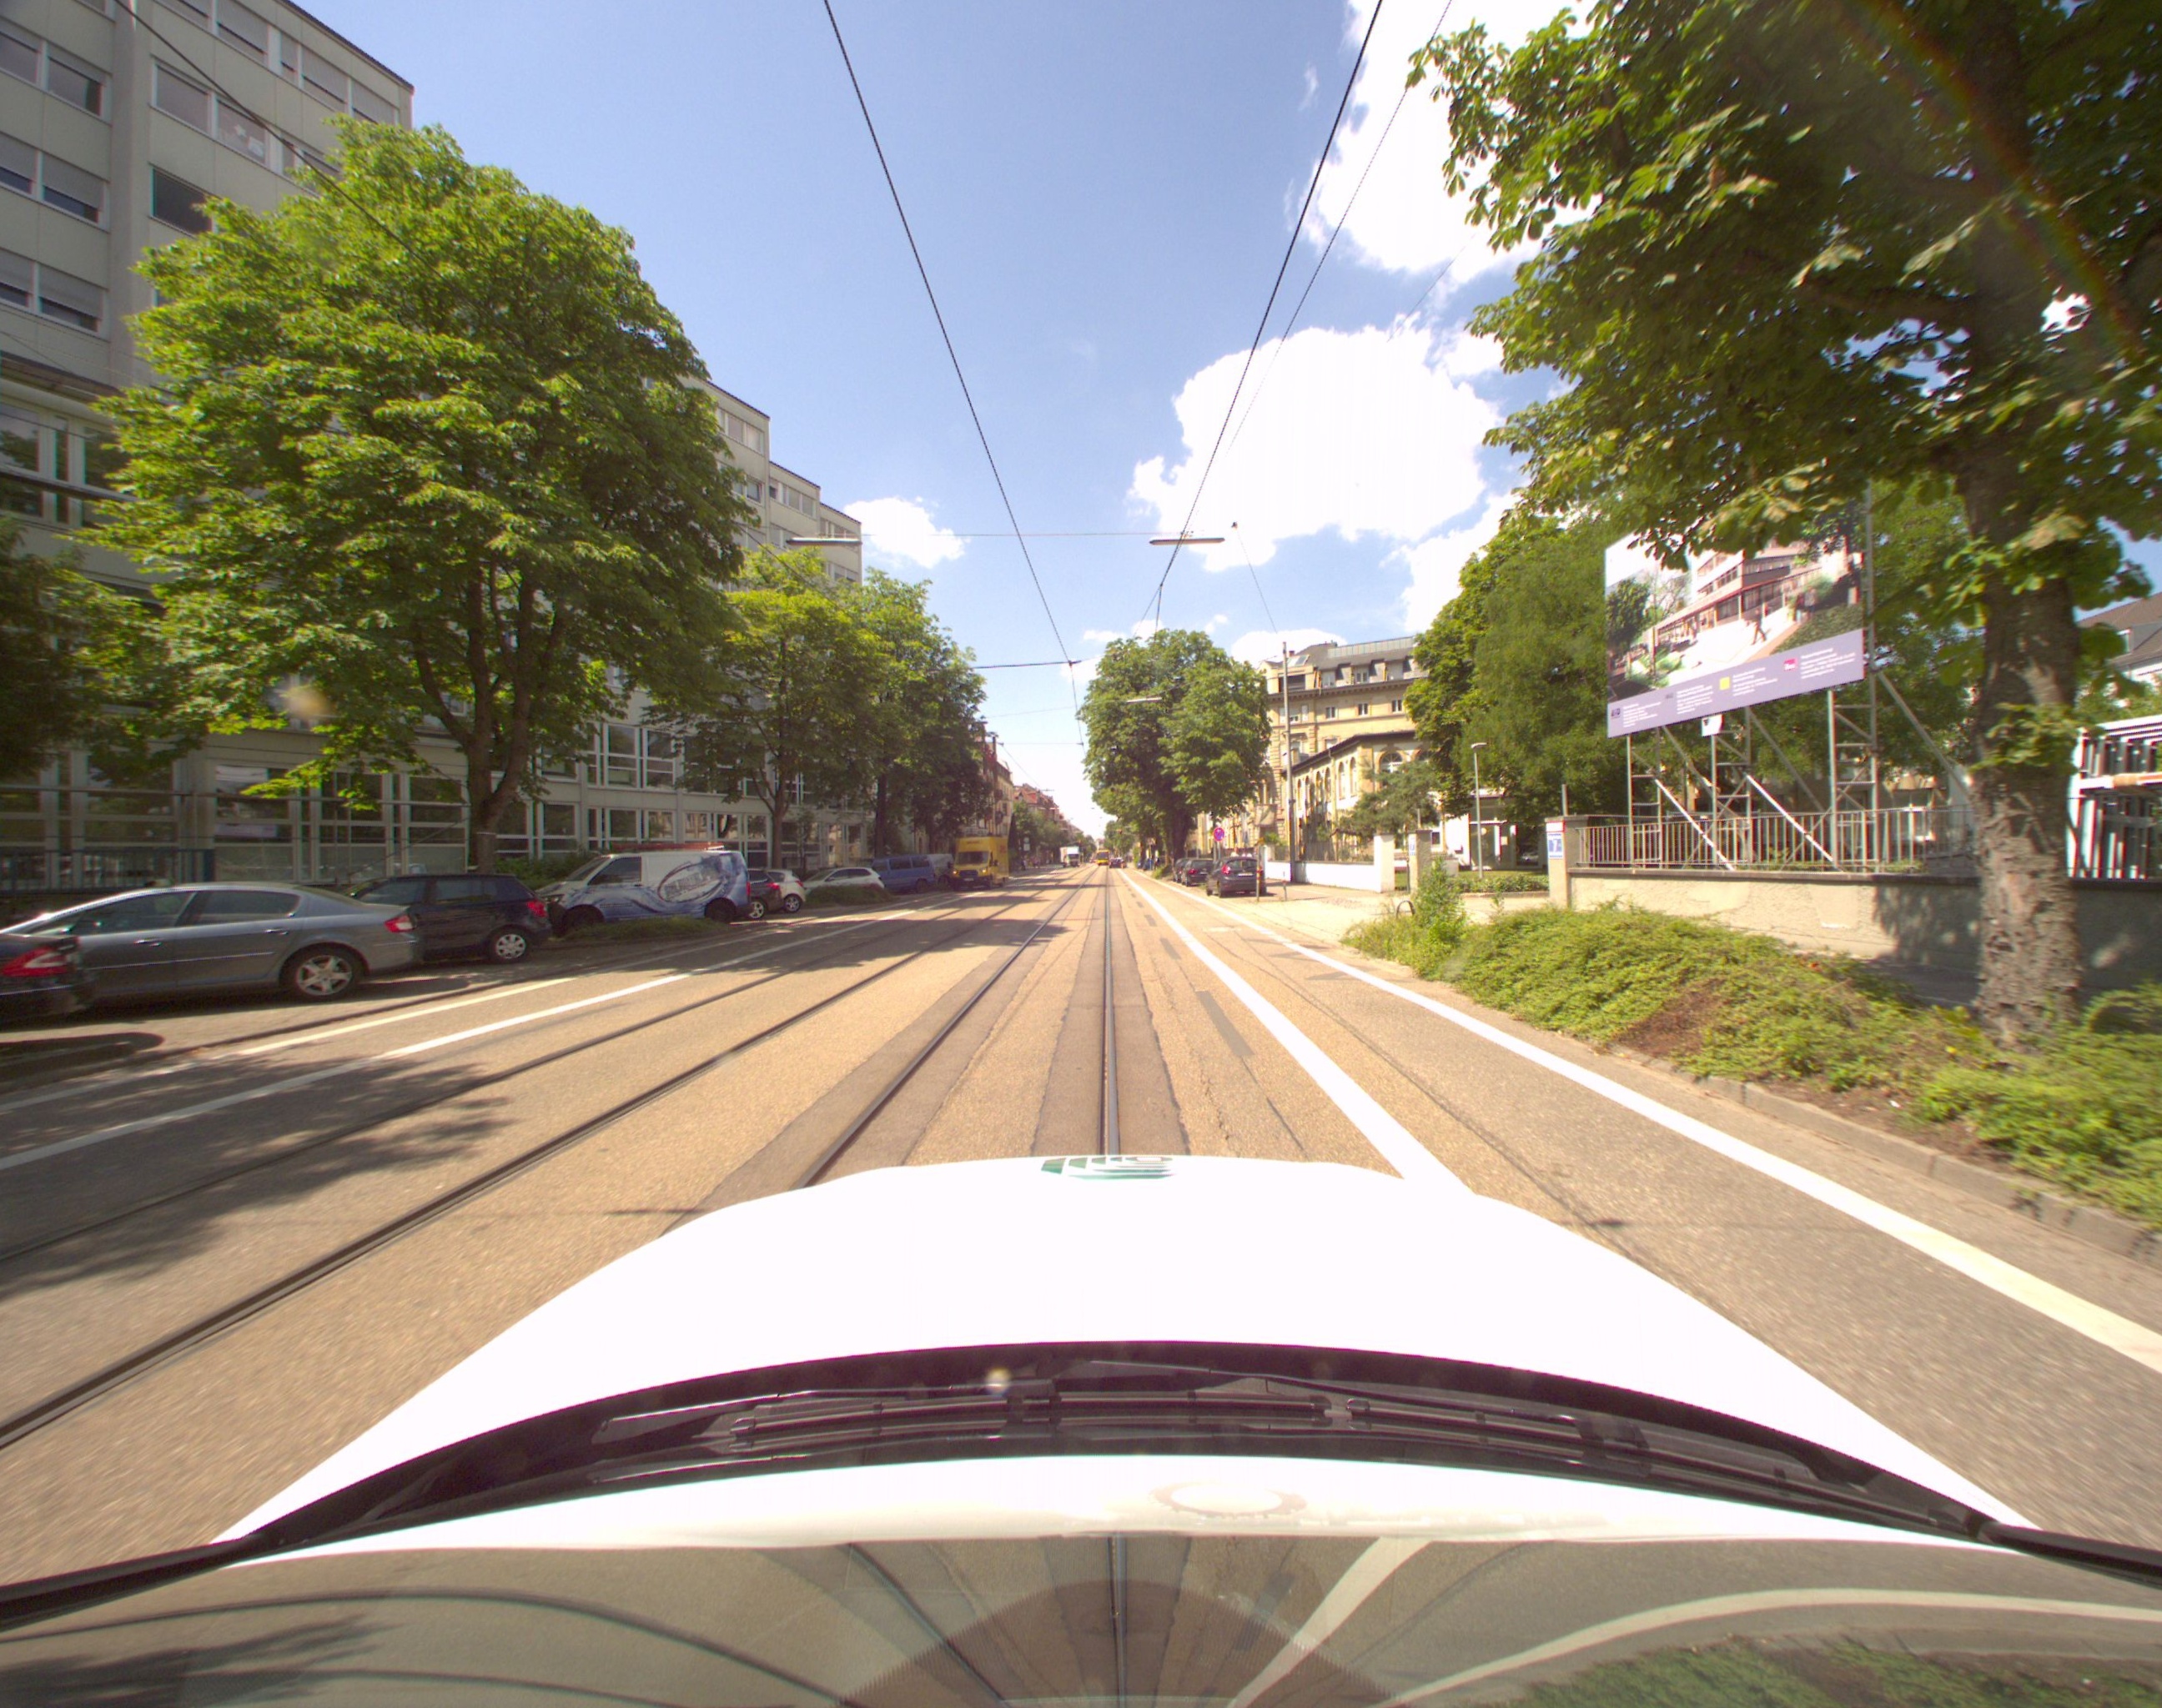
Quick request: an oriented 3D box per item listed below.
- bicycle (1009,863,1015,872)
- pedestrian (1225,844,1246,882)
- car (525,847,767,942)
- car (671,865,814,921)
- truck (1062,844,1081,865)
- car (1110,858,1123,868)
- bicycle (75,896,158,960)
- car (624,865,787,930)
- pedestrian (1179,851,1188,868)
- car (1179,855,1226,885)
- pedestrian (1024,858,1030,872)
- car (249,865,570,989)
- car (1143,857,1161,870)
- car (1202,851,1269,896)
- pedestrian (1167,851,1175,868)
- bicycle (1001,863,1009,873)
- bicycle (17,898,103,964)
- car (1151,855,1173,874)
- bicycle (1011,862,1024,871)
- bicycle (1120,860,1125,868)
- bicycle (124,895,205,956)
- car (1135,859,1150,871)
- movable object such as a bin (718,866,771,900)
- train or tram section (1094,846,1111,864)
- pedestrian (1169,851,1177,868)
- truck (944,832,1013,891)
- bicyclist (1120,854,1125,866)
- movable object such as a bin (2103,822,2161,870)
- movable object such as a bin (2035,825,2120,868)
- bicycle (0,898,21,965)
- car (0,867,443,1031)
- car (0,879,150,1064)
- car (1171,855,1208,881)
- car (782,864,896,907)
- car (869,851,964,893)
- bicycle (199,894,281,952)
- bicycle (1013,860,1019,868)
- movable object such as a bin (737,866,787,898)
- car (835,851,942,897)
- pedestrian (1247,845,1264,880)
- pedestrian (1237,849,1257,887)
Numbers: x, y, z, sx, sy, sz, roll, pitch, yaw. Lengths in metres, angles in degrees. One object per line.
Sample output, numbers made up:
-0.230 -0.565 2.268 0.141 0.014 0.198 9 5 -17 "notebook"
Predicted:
-7.949 1.519 93.801 0.541 0.969 1.782 0 0 2 "bicycle"
7.803 0.455 41.104 0.579 1.859 0.802 -2 -1 -34 "pedestrian"
-10.410 0.891 19.777 1.898 1.935 4.785 -4 -1 44 "car"
-10.624 1.196 25.707 3.731 1.467 1.741 -2 -1 -44 "car"
-1.646 0.126 145.001 2.928 3.550 8.456 -2 0 2 "truck"
5.096 1.282 116.566 1.774 1.346 3.417 -2 0 2 "car"
-18.279 1.377 15.429 1.992 1.075 0.561 0 0 27 "bicycle"
-10.494 1.170 22.880 3.731 1.507 1.795 -2 -1 -44 "car"
11.215 0.620 89.287 0.806 1.860 0.623 -1 -2 0 "pedestrian"
6.294 0.817 42.631 1.869 1.455 4.530 -2 -1 2 "car"
-6.629 1.344 100.463 0.570 1.616 0.817 -2 -1 2 "pedestrian"
-10.529 1.040 12.980 3.731 1.544 1.671 -2 -1 -44 "car"
7.883 1.073 90.507 1.704 1.423 4.310 -2 -1 1 "car"
5.673 0.706 30.342 1.634 1.485 3.870 -2 -1 -2 "car"
9.788 0.613 88.746 0.806 1.860 0.576 -1 -2 -1 "pedestrian"
-8.142 1.502 87.550 0.541 0.969 1.991 0 0 2 "bicycle"
-18.573 1.370 14.806 1.992 1.075 0.561 0 0 27 "bicycle"
7.054 0.909 71.184 1.586 1.616 3.908 -2 -1 1 "car"
-7.006 1.398 90.278 0.538 0.969 1.792 -1 -2 31 "bicycle"
5.355 1.250 104.964 0.636 0.969 1.780 0 -2 1 "bicycle"
-18.005 1.380 15.990 1.992 1.075 0.561 0 0 27 "bicycle"
8.147 1.446 108.639 1.704 1.423 4.310 -2 -1 1 "car"
-15.412 1.315 37.389 1.755 1.410 1.424 -2 0 1 "movable object such as a bin"
4.418 0.208 165.309 3.023 3.438 11.977 -2 0 2 "train or tram section"
10.215 0.622 90.325 0.806 1.860 0.623 -1 -2 0 "pedestrian"
-5.508 0.373 44.820 2.350 2.852 7.384 -2 0 3 "truck"
5.357 0.784 105.026 0.620 1.616 0.864 0 -2 0 "bicyclist"
33.534 -0.263 25.494 1.392 1.463 1.396 -2 0 22 "movable object such as a bin"
35.691 -0.256 29.208 1.392 1.463 1.396 -2 0 22 "movable object such as a bin"
-18.906 1.310 13.938 1.992 1.075 0.561 0 0 27 "bicycle"
-10.472 1.021 9.882 4.225 1.507 1.852 -2 0 -40 "car"
-10.458 1.064 6.586 1.740 1.507 3.732 -3 -1 44 "car"
6.464 0.835 49.002 1.704 1.423 4.244 -2 -1 1 "car"
-9.789 1.266 33.154 1.740 1.433 4.025 -5 -1 43 "car"
-9.231 0.999 45.839 4.785 2.062 2.003 -3 0 -38 "car"
-17.365 1.392 16.800 2.110 1.075 0.561 0 0 27 "bicycle"
-7.925 1.211 99.852 0.541 0.969 1.782 0 0 2 "bicycle"
-15.217 1.313 38.877 1.755 1.410 1.424 -2 0 1 "movable object such as a bin"
-9.341 0.945 39.720 4.759 1.955 1.824 -3 0 -44 "car"
8.836 0.431 41.227 0.480 1.737 0.614 -2 -1 -34 "pedestrian"
8.210 0.682 40.293 0.579 1.859 0.718 -2 -1 -34 "pedestrian"
